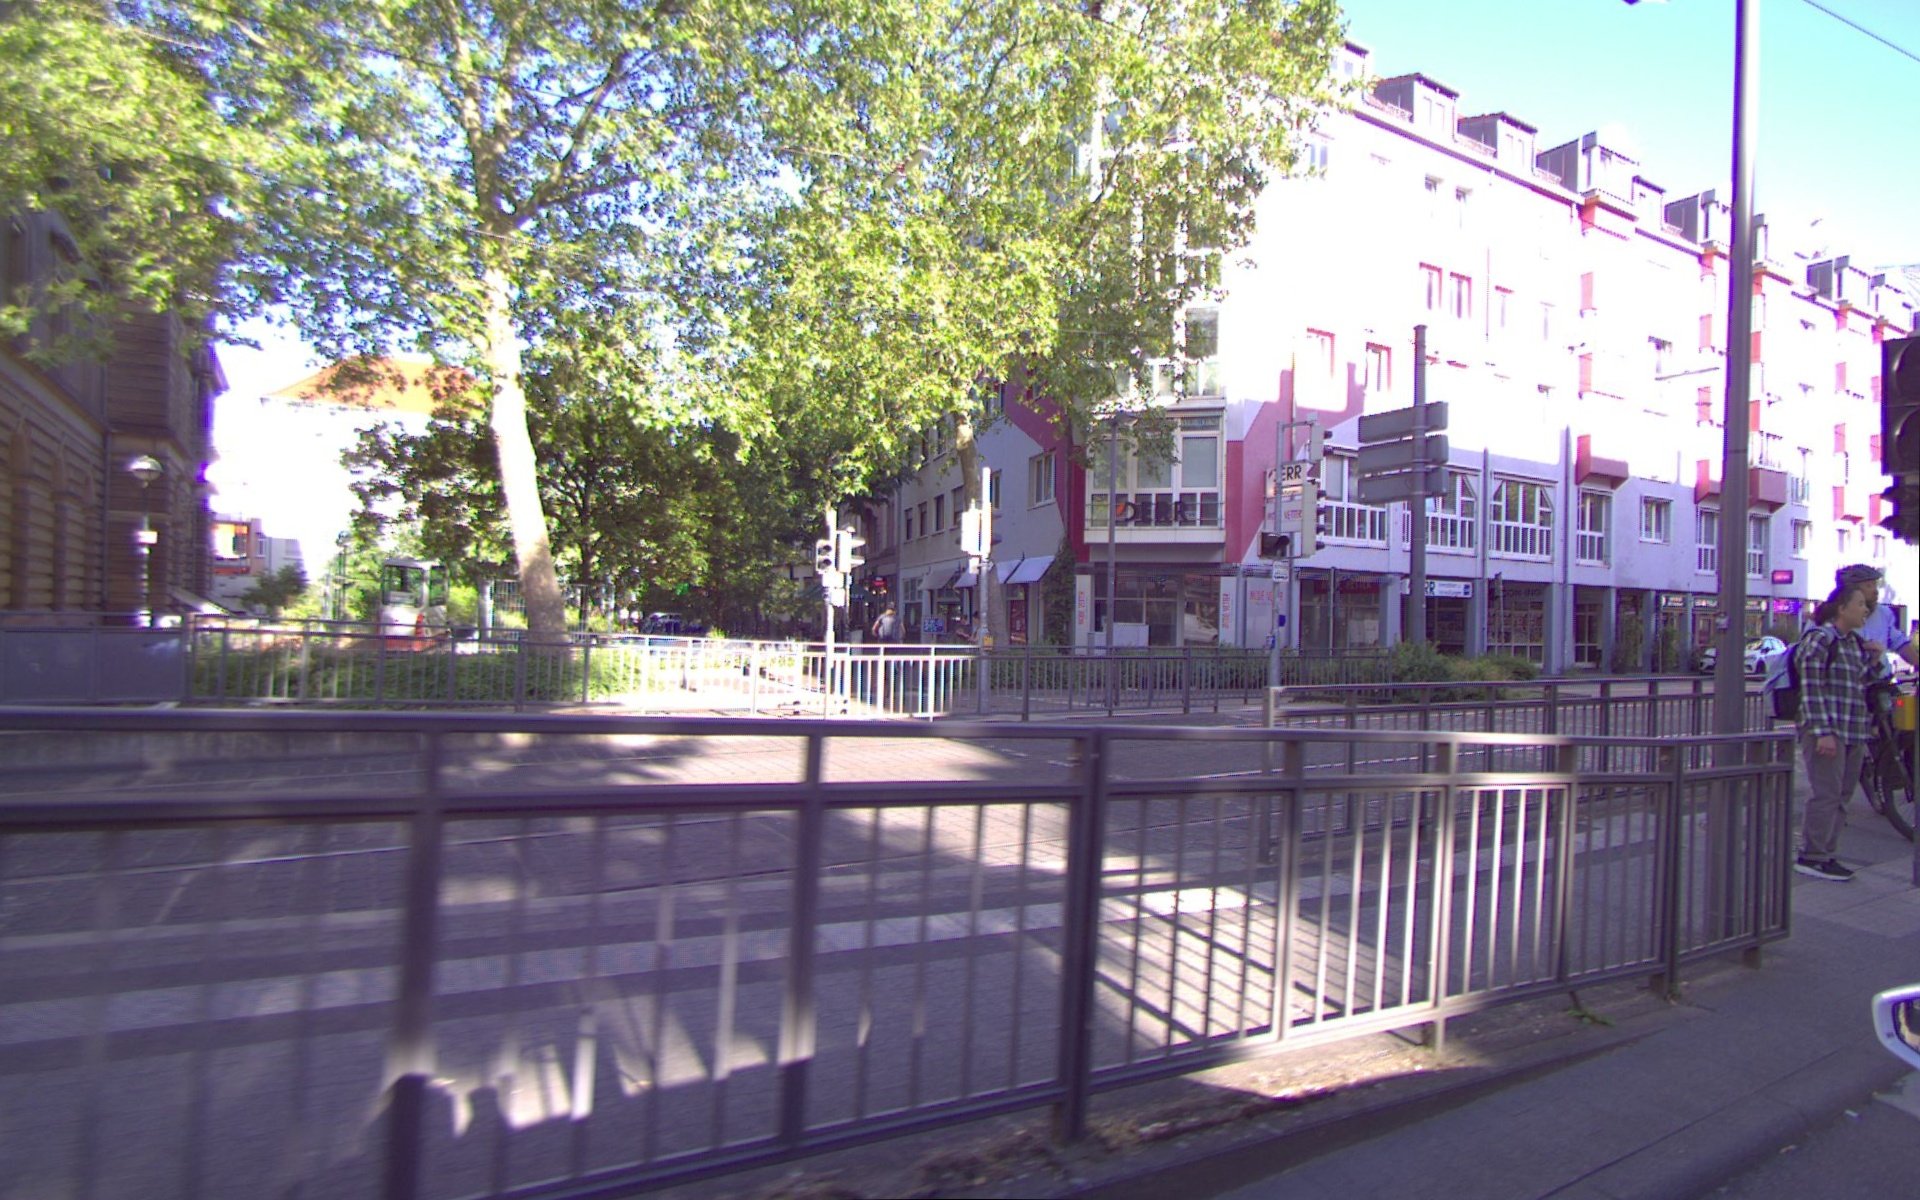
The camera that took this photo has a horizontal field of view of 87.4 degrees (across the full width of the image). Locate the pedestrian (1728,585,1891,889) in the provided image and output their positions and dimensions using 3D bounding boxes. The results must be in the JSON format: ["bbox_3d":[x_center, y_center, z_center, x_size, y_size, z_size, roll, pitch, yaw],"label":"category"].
[{"bbox_3d":[4.881,0.739,5.773,0.662,1.612,0.513,1,3,-40],"label":"pedestrian"}]

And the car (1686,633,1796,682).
[{"bbox_3d":[28.835,2.088,37.058,4.324,1.635,1.906,2,-1,-33],"label":"car"}]

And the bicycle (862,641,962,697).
[{"bbox_3d":[-0.971,1.345,19.936,2.139,0.979,0.644,0,-1,42],"label":"bicycle"}]

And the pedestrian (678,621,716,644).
[{"bbox_3d":[-11.603,1.426,44.293,1.256,1.008,1.239,2,-1,-33],"label":"pedestrian"}]

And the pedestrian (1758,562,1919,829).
[{"bbox_3d":[6.543,0.668,7.306,0.923,1.846,0.595,2,1,3],"label":"pedestrian"}]

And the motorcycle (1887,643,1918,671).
[{"bbox_3d":[45.807,2.774,48.810,2.058,1.315,0.516,1,1,-32],"label":"motorcycle"}]

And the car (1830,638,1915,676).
[{"bbox_3d":[39.273,2.437,43.216,4.163,1.494,1.741,2,-1,-34],"label":"car"}]

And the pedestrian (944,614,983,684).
[{"bbox_3d":[0.082,1.174,24.318,0.678,1.658,0.675,1,-1,27],"label":"pedestrian"}]

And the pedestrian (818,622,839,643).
[{"bbox_3d":[-6.652,1.641,50.778,0.635,1.057,0.827,0,-1,45],"label":"pedestrian"}]

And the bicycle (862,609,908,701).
[{"bbox_3d":[-1.453,1.056,19.443,0.637,1.738,0.582,1,-1,35],"label":"bicycle"}]

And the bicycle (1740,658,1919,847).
[{"bbox_3d":[6.694,1.073,7.282,0.587,1.109,1.945,3,2,3],"label":"bicycle"}]

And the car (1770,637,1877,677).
[{"bbox_3d":[34.883,2.276,40.552,4.772,1.477,1.892,2,-1,-32],"label":"car"}]

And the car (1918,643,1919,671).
[{"bbox_3d":[48.675,2.840,48.805,4.767,1.343,1.949,2,1,-32],"label":"car"}]

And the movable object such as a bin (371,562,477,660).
[{"bbox_3d":[-11.883,0.251,22.413,1.153,2.040,2.648,1,-1,-6],"label":"movable object such as a bin"}]
